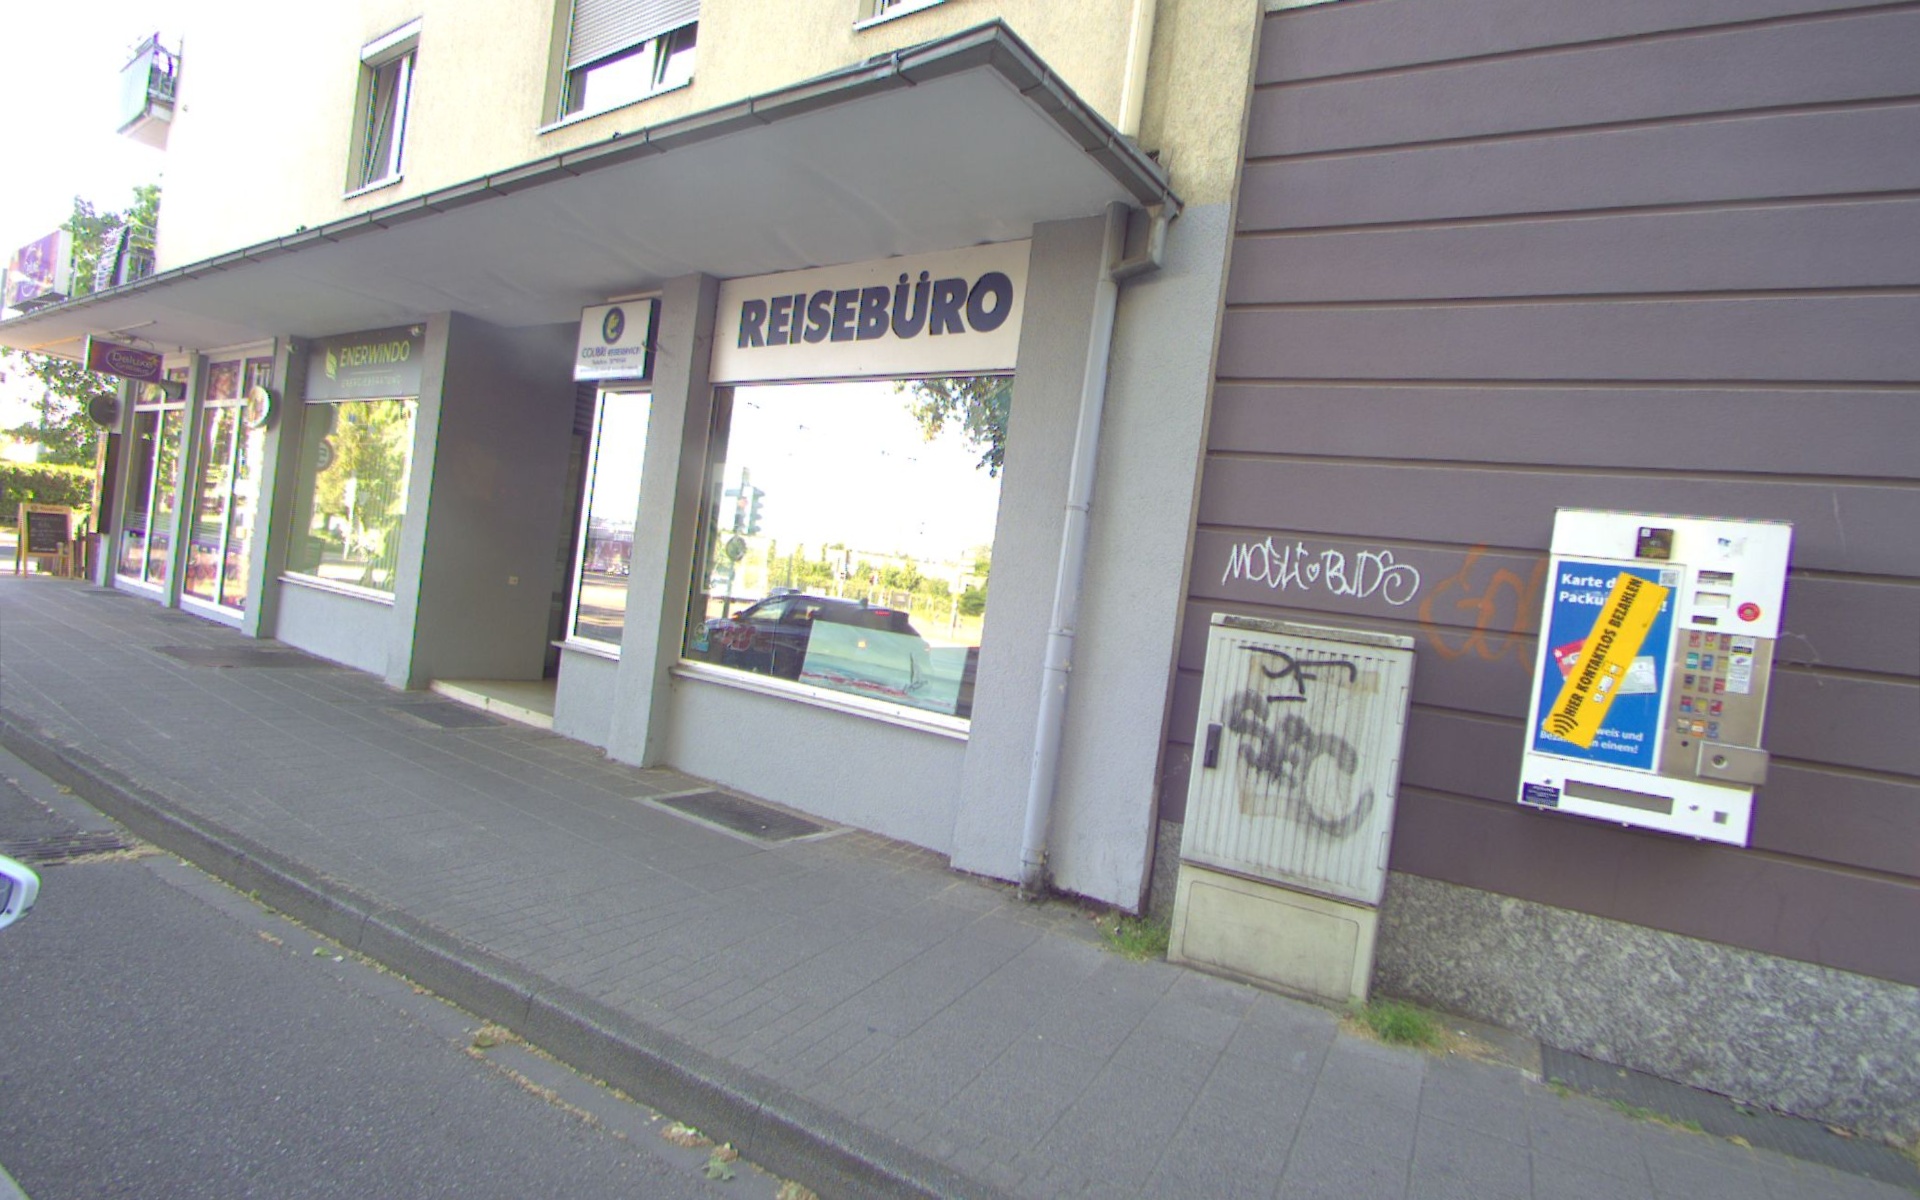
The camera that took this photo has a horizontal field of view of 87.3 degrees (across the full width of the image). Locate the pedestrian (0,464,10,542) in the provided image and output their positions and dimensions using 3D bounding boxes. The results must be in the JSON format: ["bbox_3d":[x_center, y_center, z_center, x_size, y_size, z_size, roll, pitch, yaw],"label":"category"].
[{"bbox_3d":[-18.964,-1.742,19.446,0.630,1.841,0.738,8,-1,-38],"label":"pedestrian"}]
